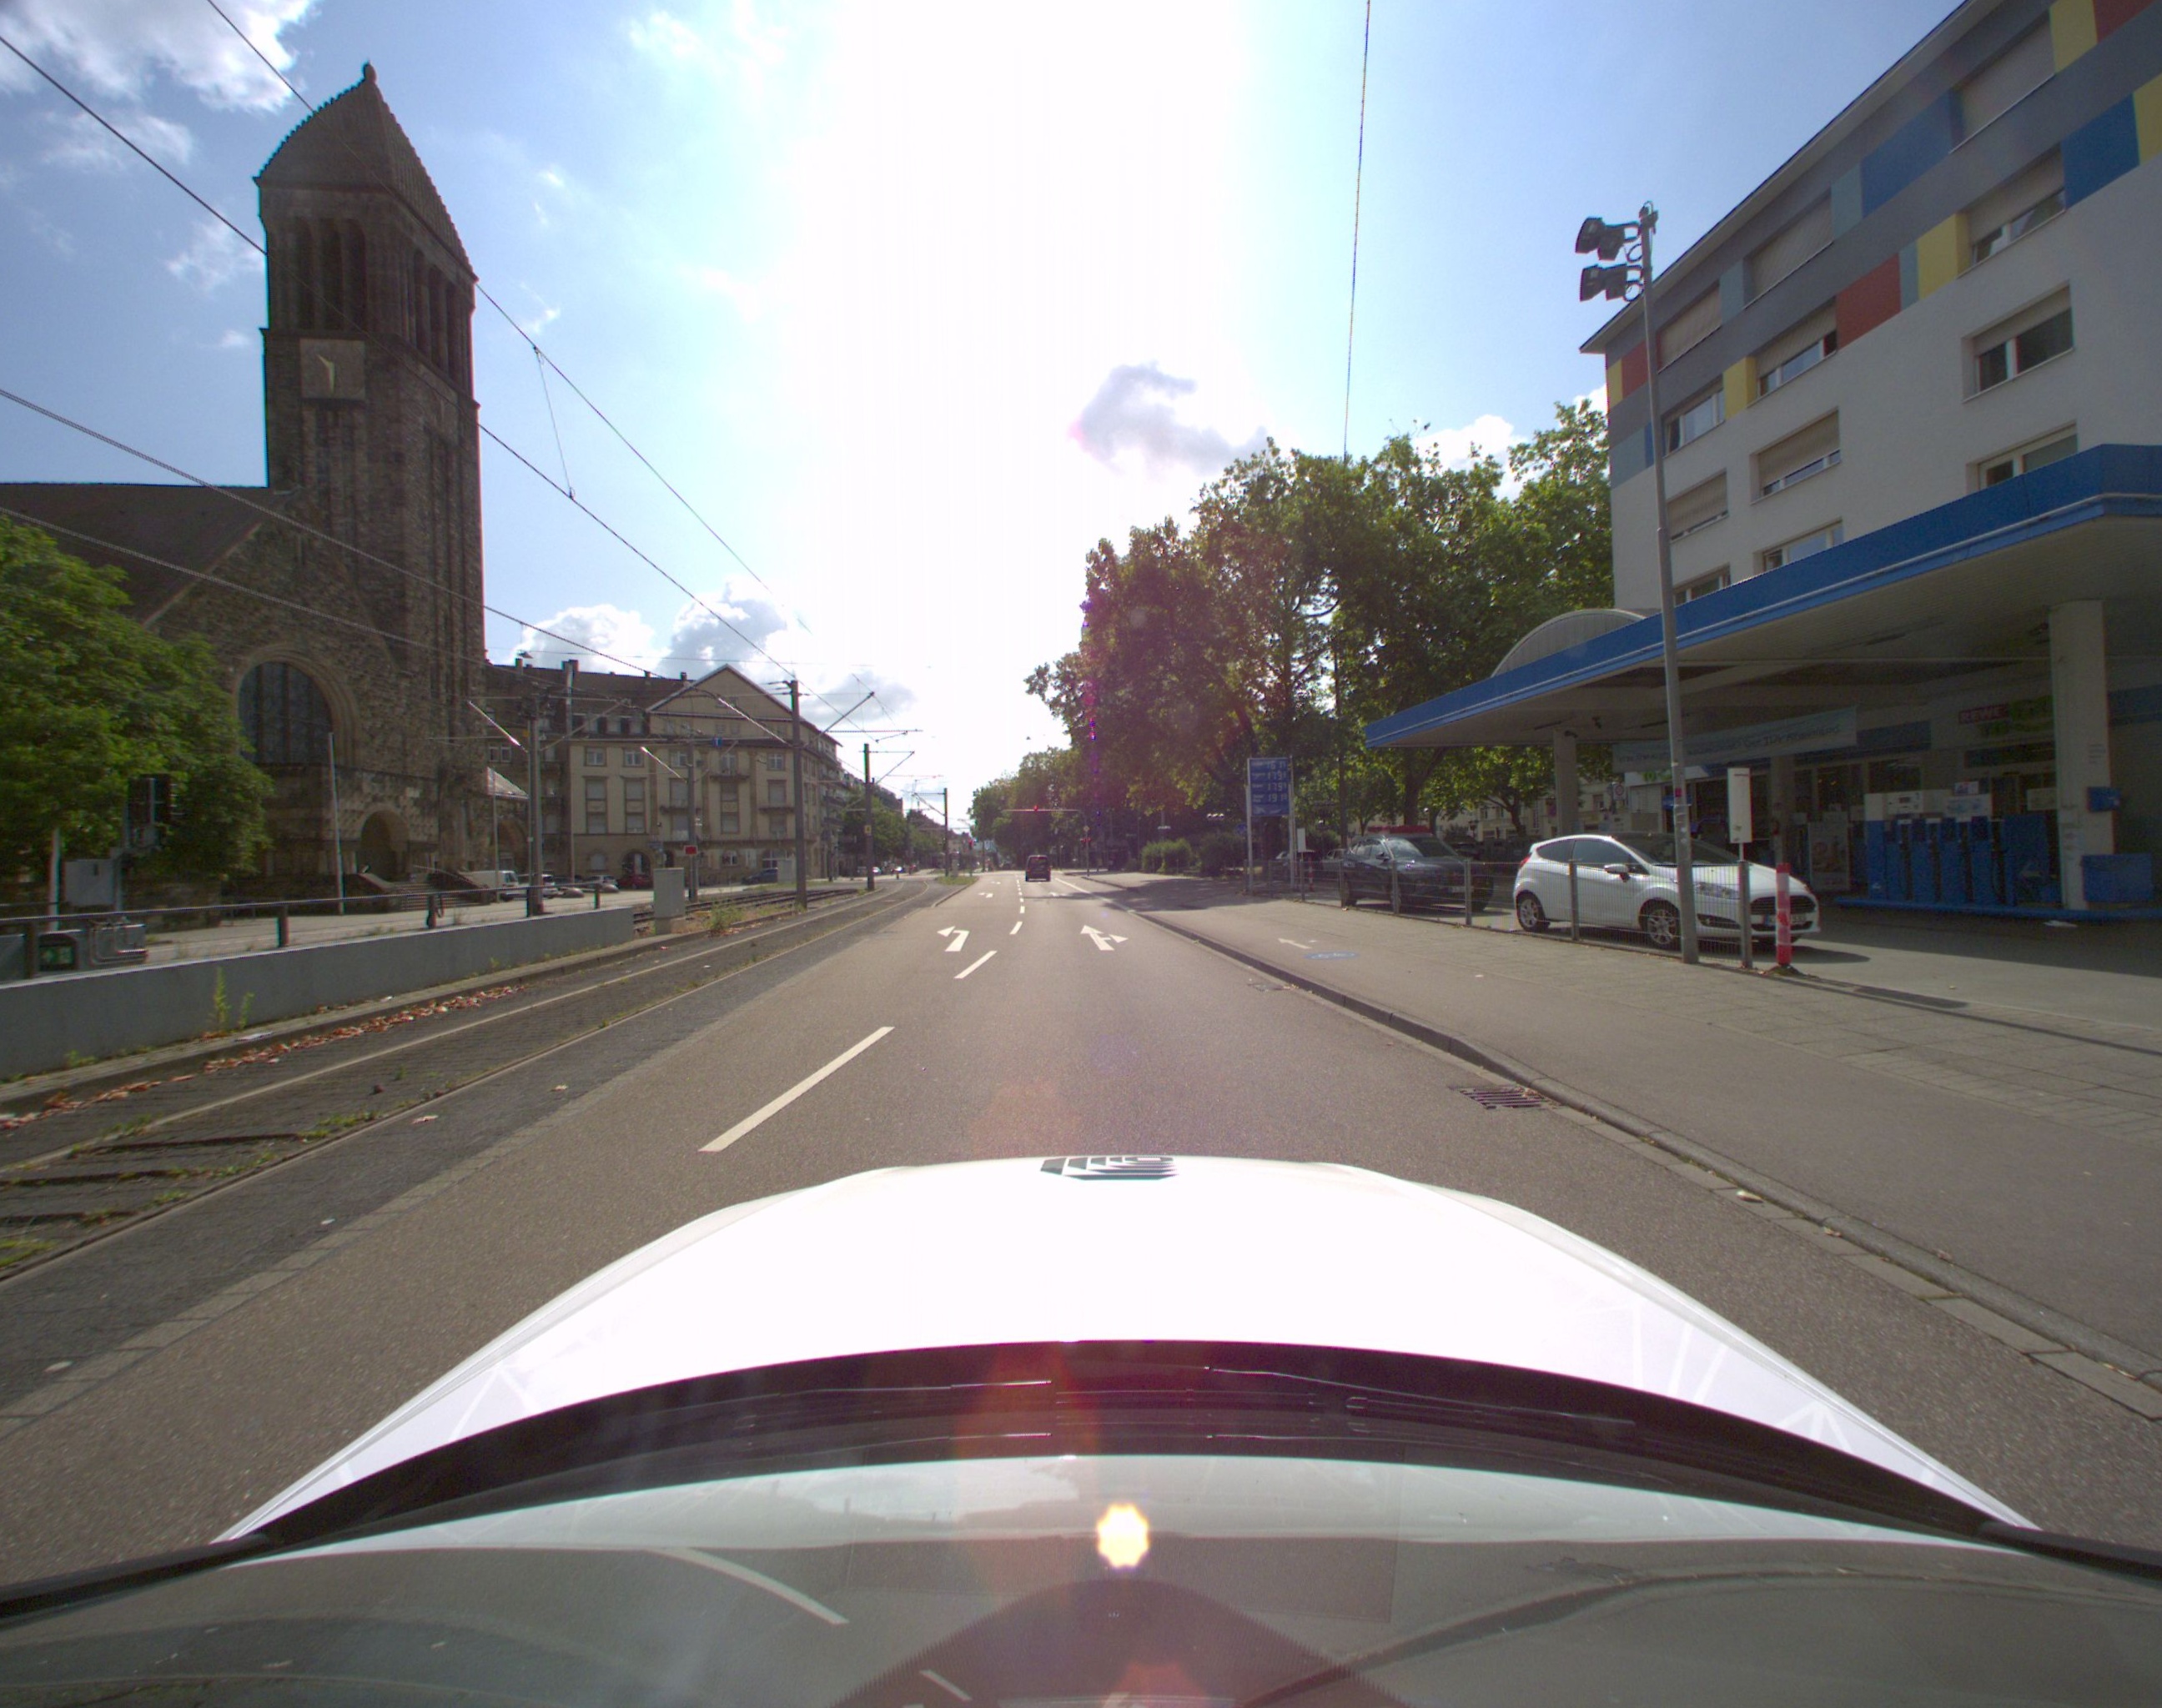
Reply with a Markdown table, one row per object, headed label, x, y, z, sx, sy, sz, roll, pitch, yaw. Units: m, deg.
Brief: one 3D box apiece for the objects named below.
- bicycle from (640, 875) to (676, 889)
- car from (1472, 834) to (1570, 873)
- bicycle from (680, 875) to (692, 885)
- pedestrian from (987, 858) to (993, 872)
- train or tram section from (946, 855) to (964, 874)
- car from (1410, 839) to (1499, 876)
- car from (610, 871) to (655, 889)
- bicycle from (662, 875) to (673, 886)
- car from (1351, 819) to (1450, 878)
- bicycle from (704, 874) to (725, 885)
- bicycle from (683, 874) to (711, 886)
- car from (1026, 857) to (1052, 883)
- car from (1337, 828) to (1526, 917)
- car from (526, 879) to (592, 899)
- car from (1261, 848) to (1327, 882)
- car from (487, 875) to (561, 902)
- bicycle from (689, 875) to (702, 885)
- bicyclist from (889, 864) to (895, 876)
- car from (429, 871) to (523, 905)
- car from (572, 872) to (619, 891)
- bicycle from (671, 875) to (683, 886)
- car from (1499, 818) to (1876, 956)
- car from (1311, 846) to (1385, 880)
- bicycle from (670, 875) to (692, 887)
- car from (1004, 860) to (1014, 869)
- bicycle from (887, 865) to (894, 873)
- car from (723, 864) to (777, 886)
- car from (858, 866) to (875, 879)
| label | x | y | z | sx | sy | sz | roll | pitch | yaw |
| --- | --- | --- | --- | --- | --- | --- | --- | --- | --- |
| bicycle | -42.771 | 2.840 | 82.421 | 3.288 | 1.253 | 1.002 | -2 | 0 | 11 |
| car | 21.051 | -0.013 | 39.187 | 2.002 | 1.754 | 4.646 | -1 | 0 | -3 |
| bicycle | -41.037 | 2.708 | 84.619 | 0.809 | 1.053 | 2.539 | -2 | 0 | -34 |
| pedestrian | -12.043 | 1.465 | 107.413 | 0.658 | 1.784 | 0.659 | -2 | -1 | -5 |
| train or tram section | -23.457 | 1.845 | 151.789 | 2.237 | 3.331 | 12.950 | -2 | 0 | -4 |
| car | 18.042 | 0.167 | 39.566 | 2.002 | 1.651 | 4.646 | -1 | 0 | -3 |
| car | -44.712 | 2.607 | 81.163 | 3.949 | 1.674 | 2.012 | -2 | 0 | 27 |
| bicycle | -42.676 | 2.725 | 84.074 | 0.745 | 1.053 | 2.339 | -2 | 0 | -34 |
| car | 15.244 | -0.236 | 39.325 | 2.107 | 2.582 | 6.012 | -2 | 0 | -3 |
| bicycle | -38.699 | 2.681 | 86.022 | 0.799 | 1.053 | 2.571 | -2 | 0 | 7 |
| bicycle | -39.440 | 2.676 | 83.626 | 2.576 | 1.053 | 0.675 | -2 | 0 | -33 |
| car | -3.044 | 1.144 | 58.561 | 1.747 | 1.809 | 3.469 | 0 | 0 | -5 |
| car | 7.234 | 0.355 | 17.417 | 1.802 | 1.602 | 4.576 | -1 | 0 | -4 |
| car | -44.590 | 2.971 | 69.705 | 4.583 | 1.436 | 1.691 | -2 | 0 | -29 |
| car | 9.918 | 0.501 | 38.232 | 1.646 | 1.470 | 4.034 | -2 | 0 | -6 |
| car | -34.731 | 2.114 | 50.856 | 3.262 | 1.502 | 1.850 | -2 | 0 | -7 |
| bicycle | -40.318 | 2.702 | 85.099 | 0.809 | 1.053 | 2.539 | -2 | 0 | -34 |
| bicyclist | -26.356 | 2.224 | 113.439 | 0.779 | 1.511 | 0.995 | -2 | 0 | -16 |
| car | -35.232 | 1.964 | 47.519 | 3.868 | 1.748 | 1.890 | -2 | 0 | -8 |
| car | -47.593 | 2.706 | 79.807 | 3.954 | 1.639 | 1.811 | -2 | 0 | 19 |
| bicycle | -41.750 | 2.713 | 84.195 | 0.745 | 1.053 | 2.539 | -2 | 0 | -34 |
| car | 7.639 | 0.364 | 10.845 | 1.803 | 1.455 | 3.993 | -1 | 0 | -5 |
| car | 12.493 | 0.414 | 38.342 | 1.648 | 1.470 | 4.031 | -2 | 0 | -8 |
| bicycle | -40.336 | 2.672 | 82.122 | 1.987 | 1.114 | 0.481 | -2 | -1 | -42 |
| car | -13.992 | 2.044 | 157.622 | 1.860 | 1.753 | 3.993 | -2 | 0 | -5 |
| bicycle | -26.597 | 2.106 | 113.447 | 0.895 | 1.048 | 2.297 | -2 | 0 | -14 |
| car | -33.742 | 2.143 | 83.069 | 4.821 | 2.013 | 1.980 | -2 | 0 | -31 |
| car | -35.868 | 3.018 | 136.377 | 1.990 | 2.013 | 3.993 | -2 | 0 | -5 |
